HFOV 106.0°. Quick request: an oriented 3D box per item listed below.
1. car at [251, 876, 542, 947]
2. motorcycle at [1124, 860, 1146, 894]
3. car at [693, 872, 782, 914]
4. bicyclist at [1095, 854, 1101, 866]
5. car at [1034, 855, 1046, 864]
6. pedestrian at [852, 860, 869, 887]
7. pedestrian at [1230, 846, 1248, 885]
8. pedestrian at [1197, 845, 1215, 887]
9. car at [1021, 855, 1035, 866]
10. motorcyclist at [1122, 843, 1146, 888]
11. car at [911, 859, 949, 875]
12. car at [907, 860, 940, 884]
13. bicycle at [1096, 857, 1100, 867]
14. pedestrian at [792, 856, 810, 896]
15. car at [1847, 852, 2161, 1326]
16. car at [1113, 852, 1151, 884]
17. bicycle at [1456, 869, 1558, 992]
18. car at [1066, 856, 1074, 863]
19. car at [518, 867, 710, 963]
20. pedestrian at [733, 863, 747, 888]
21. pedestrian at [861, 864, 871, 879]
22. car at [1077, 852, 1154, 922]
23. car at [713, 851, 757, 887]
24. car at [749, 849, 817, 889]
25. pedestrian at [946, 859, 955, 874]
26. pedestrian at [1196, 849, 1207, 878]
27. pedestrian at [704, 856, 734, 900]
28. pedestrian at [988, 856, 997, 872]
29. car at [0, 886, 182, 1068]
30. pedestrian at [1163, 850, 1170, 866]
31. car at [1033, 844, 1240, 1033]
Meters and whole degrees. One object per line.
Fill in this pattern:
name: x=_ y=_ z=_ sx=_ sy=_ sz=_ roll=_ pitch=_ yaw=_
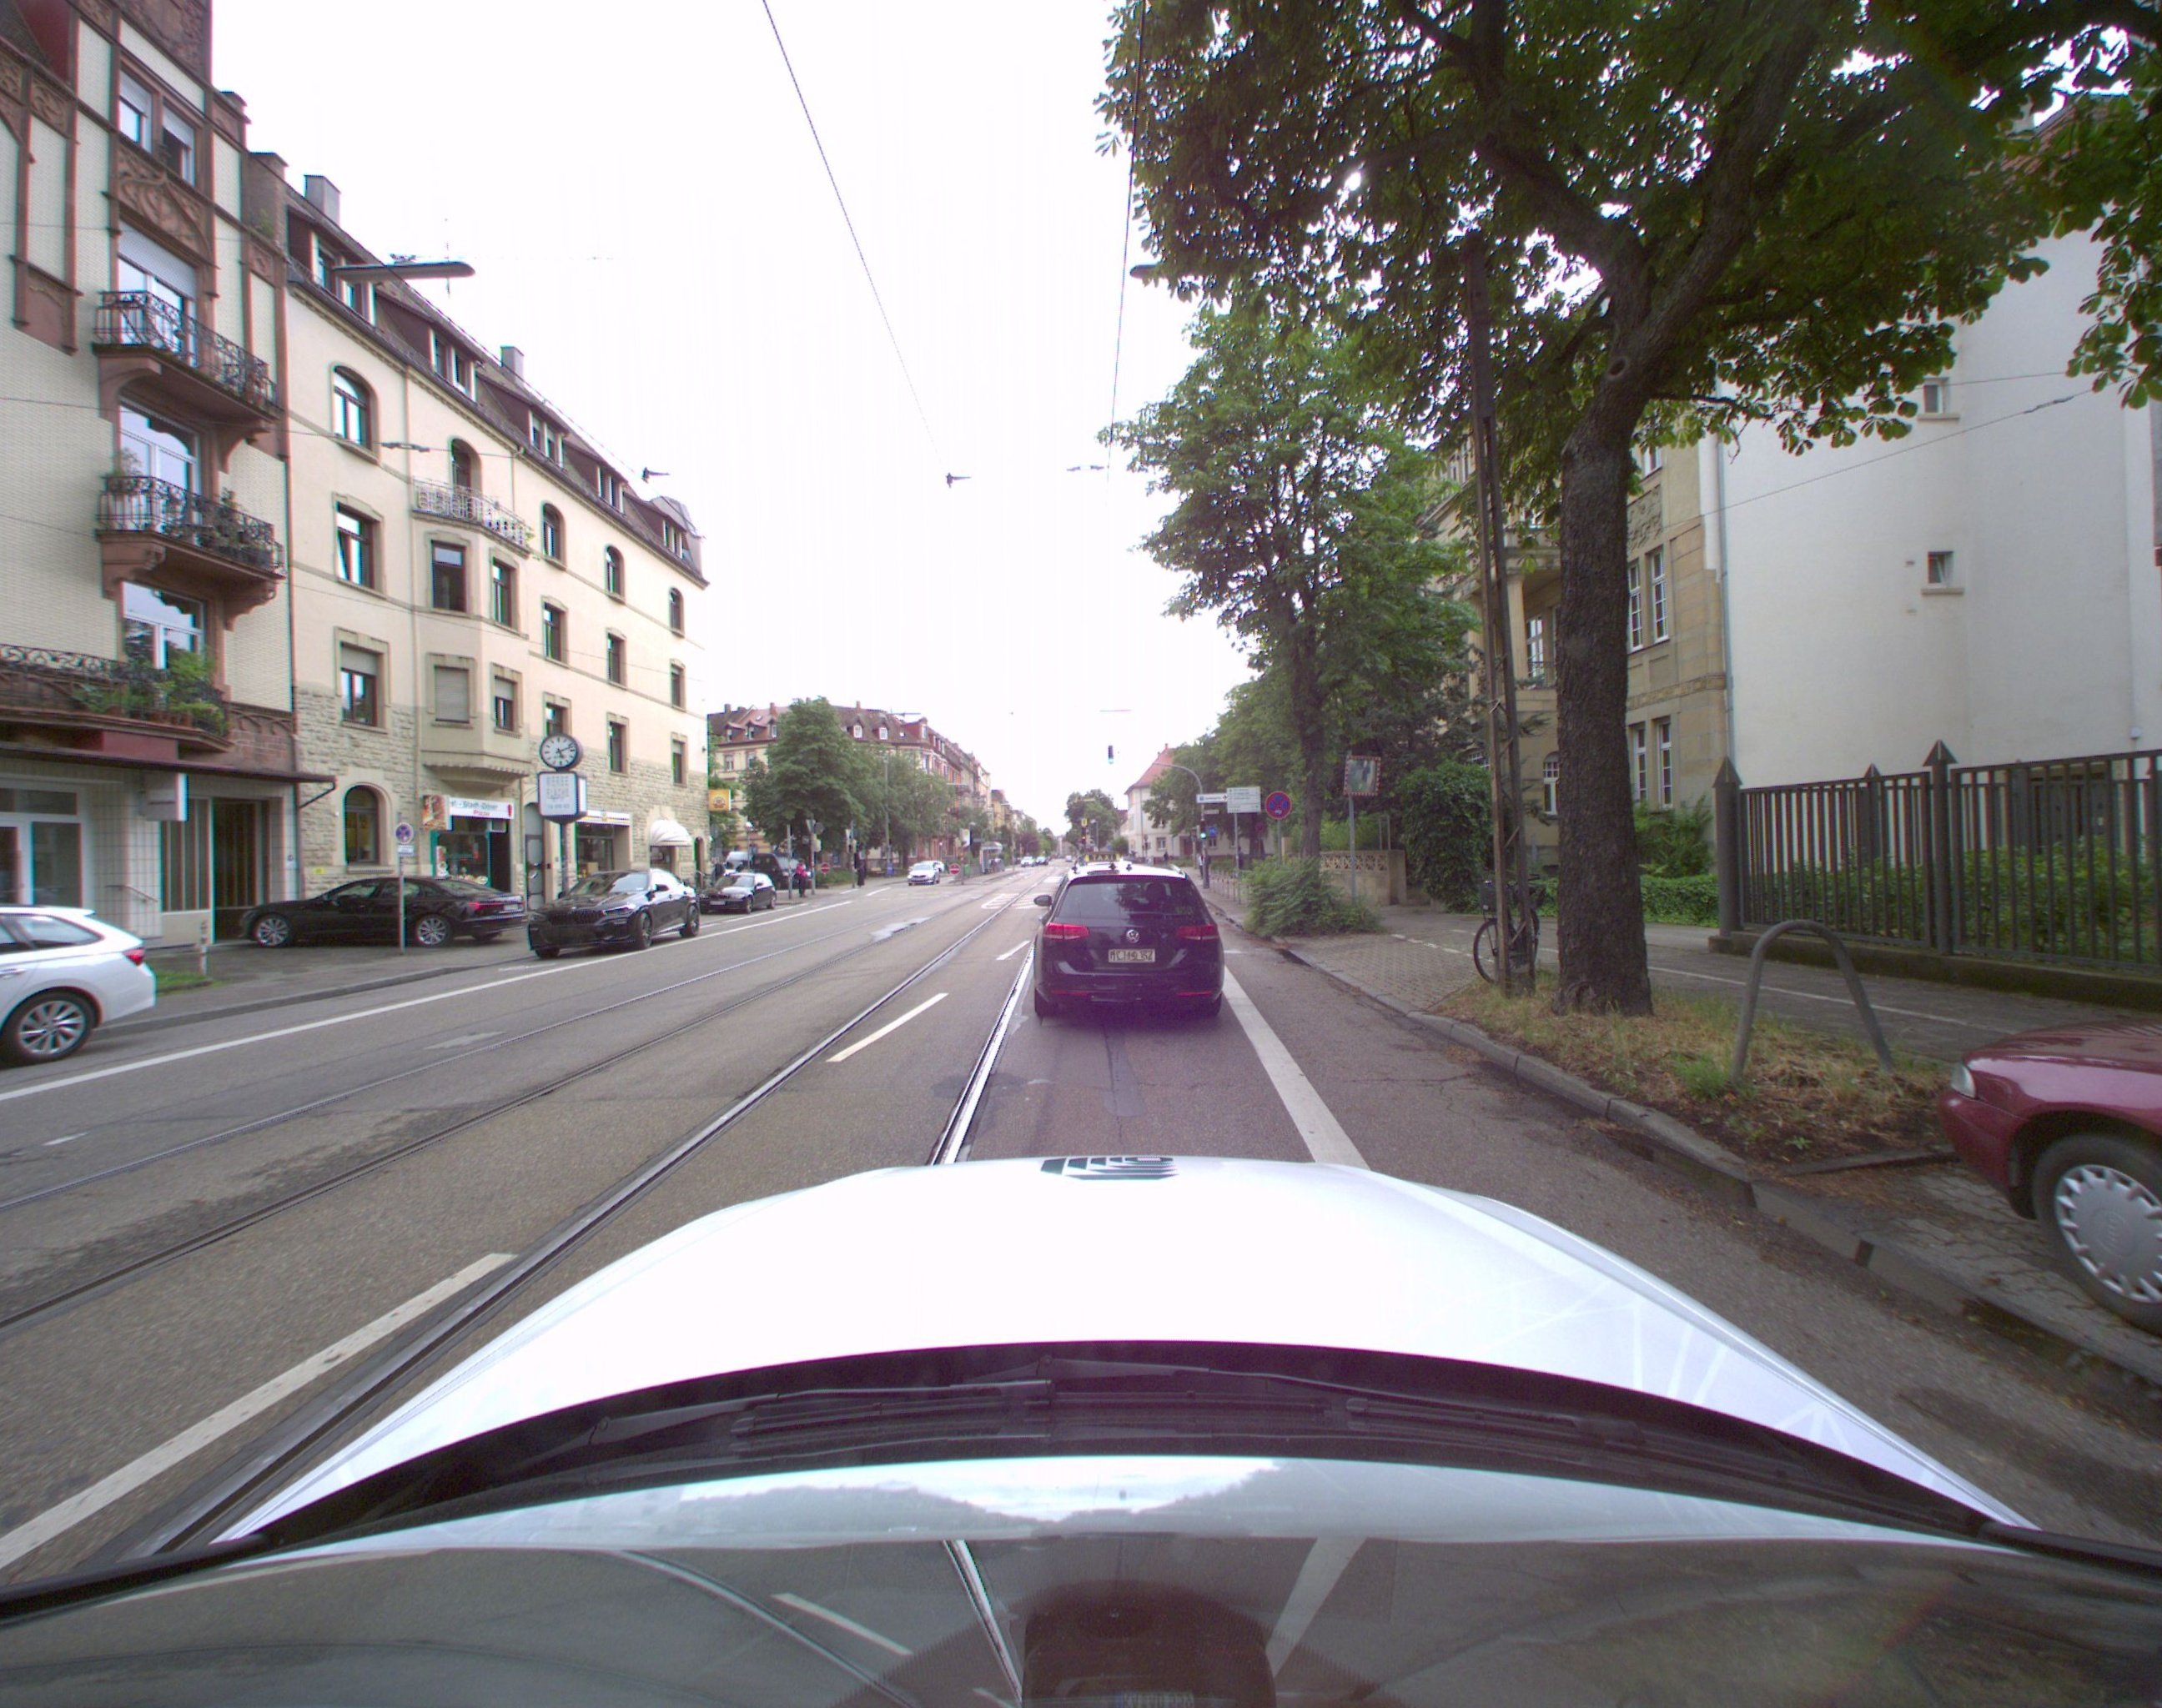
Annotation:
car: x=-14.415 y=1.192 z=17.395 sx=4.418 sy=1.370 sz=1.877 roll=1 pitch=0 yaw=-5
motorcycle: x=2.077 y=0.865 z=31.313 sx=0.443 sy=1.235 sz=1.914 roll=-2 pitch=0 yaw=15
car: x=-12.515 y=1.389 z=29.971 sx=1.645 sy=1.361 sz=4.125 roll=1 pitch=0 yaw=-3
bicyclist: x=2.328 y=0.763 z=110.504 sx=0.648 sy=1.568 sz=0.697 roll=-2 pitch=0 yaw=6
car: x=-7.275 y=0.964 z=144.680 sx=1.788 sy=1.596 sz=4.002 roll=-2 pitch=0 yaw=2
pedestrian: x=-14.020 y=1.239 z=51.772 sx=0.833 sy=1.663 sz=0.591 roll=-2 pitch=0 yaw=1
pedestrian: x=7.468 y=0.524 z=38.443 sx=0.630 sy=1.815 sz=0.725 roll=-2 pitch=0 yaw=-3
pedestrian: x=5.685 y=0.528 z=36.952 sx=0.583 sy=1.831 sz=0.604 roll=-5 pitch=0 yaw=1
car: x=-8.269 y=1.016 z=127.762 sx=1.788 sy=1.596 sz=4.002 roll=-2 pitch=0 yaw=2
motorcyclist: x=2.034 y=0.450 z=31.369 sx=0.697 sy=1.692 sz=0.808 roll=-2 pitch=0 yaw=15
car: x=-17.045 y=1.476 z=92.212 sx=3.885 sy=1.622 sz=1.705 roll=-2 pitch=0 yaw=-43
car: x=-10.332 y=1.145 z=53.710 sx=1.686 sy=1.410 sz=3.993 roll=-3 pitch=0 yaw=-5
bicycle: x=2.295 y=1.067 z=110.444 sx=0.295 sy=1.223 sz=1.433 roll=-2 pitch=0 yaw=7
pedestrian: x=-13.282 y=1.028 z=38.663 sx=0.621 sy=1.842 sz=0.609 roll=-2 pitch=0 yaw=-3
car: x=4.138 y=0.725 z=1.401 sx=1.597 sy=1.399 sz=4.226 roll=-4 pitch=0 yaw=0
car: x=2.670 y=0.711 z=43.356 sx=1.718 sy=1.546 sz=3.999 roll=-1 pitch=0 yaw=0
bicycle: x=4.724 y=0.783 z=8.962 sx=0.428 sy=1.198 sz=1.915 roll=-2 pitch=-2 yaw=45
car: x=-2.993 y=1.474 z=225.580 sx=2.026 sy=2.014 sz=3.999 roll=-1 pitch=-1 yaw=0
car: x=-9.810 y=1.167 z=17.634 sx=1.883 sy=1.611 sz=4.872 roll=-4 pitch=0 yaw=-9
pedestrian: x=-23.476 y=1.464 z=56.002 sx=0.703 sy=1.715 sz=0.545 roll=-1 pitch=-1 yaw=-41
pedestrian: x=-17.955 y=1.472 z=68.069 sx=0.591 sy=1.168 sz=0.837 roll=-2 pitch=0 yaw=-29
car: x=0.772 y=0.746 z=20.526 sx=1.718 sy=1.546 sz=3.999 roll=-1 pitch=0 yaw=0
car: x=-25.874 y=1.106 z=60.802 sx=2.194 sy=2.527 sz=5.325 roll=-2 pitch=0 yaw=-32
car: x=-19.360 y=0.989 z=52.715 sx=2.198 sy=2.417 sz=5.315 roll=-2 pitch=0 yaw=-43
pedestrian: x=-14.368 y=1.373 z=89.717 sx=0.582 sy=1.520 sz=0.653 roll=-2 pitch=0 yaw=35
pedestrian: x=7.706 y=0.597 z=52.162 sx=0.512 sy=1.831 sz=0.418 roll=-5 pitch=0 yaw=0
pedestrian: x=-17.201 y=1.127 z=38.714 sx=0.971 sy=2.013 sz=0.835 roll=-2 pitch=0 yaw=-1
pedestrian: x=-8.188 y=0.925 z=75.586 sx=0.711 sy=1.520 sz=0.590 roll=-2 pitch=0 yaw=1
car: x=-10.043 y=1.102 z=5.992 sx=1.742 sy=1.484 sz=4.606 roll=-2 pitch=0 yaw=-1
pedestrian: x=8.769 y=0.422 z=83.389 sx=0.579 sy=1.553 sz=0.610 roll=-1 pitch=0 yaw=2
car: x=0.465 y=0.712 z=8.879 sx=1.718 sy=1.546 sz=3.999 roll=-1 pitch=0 yaw=0
